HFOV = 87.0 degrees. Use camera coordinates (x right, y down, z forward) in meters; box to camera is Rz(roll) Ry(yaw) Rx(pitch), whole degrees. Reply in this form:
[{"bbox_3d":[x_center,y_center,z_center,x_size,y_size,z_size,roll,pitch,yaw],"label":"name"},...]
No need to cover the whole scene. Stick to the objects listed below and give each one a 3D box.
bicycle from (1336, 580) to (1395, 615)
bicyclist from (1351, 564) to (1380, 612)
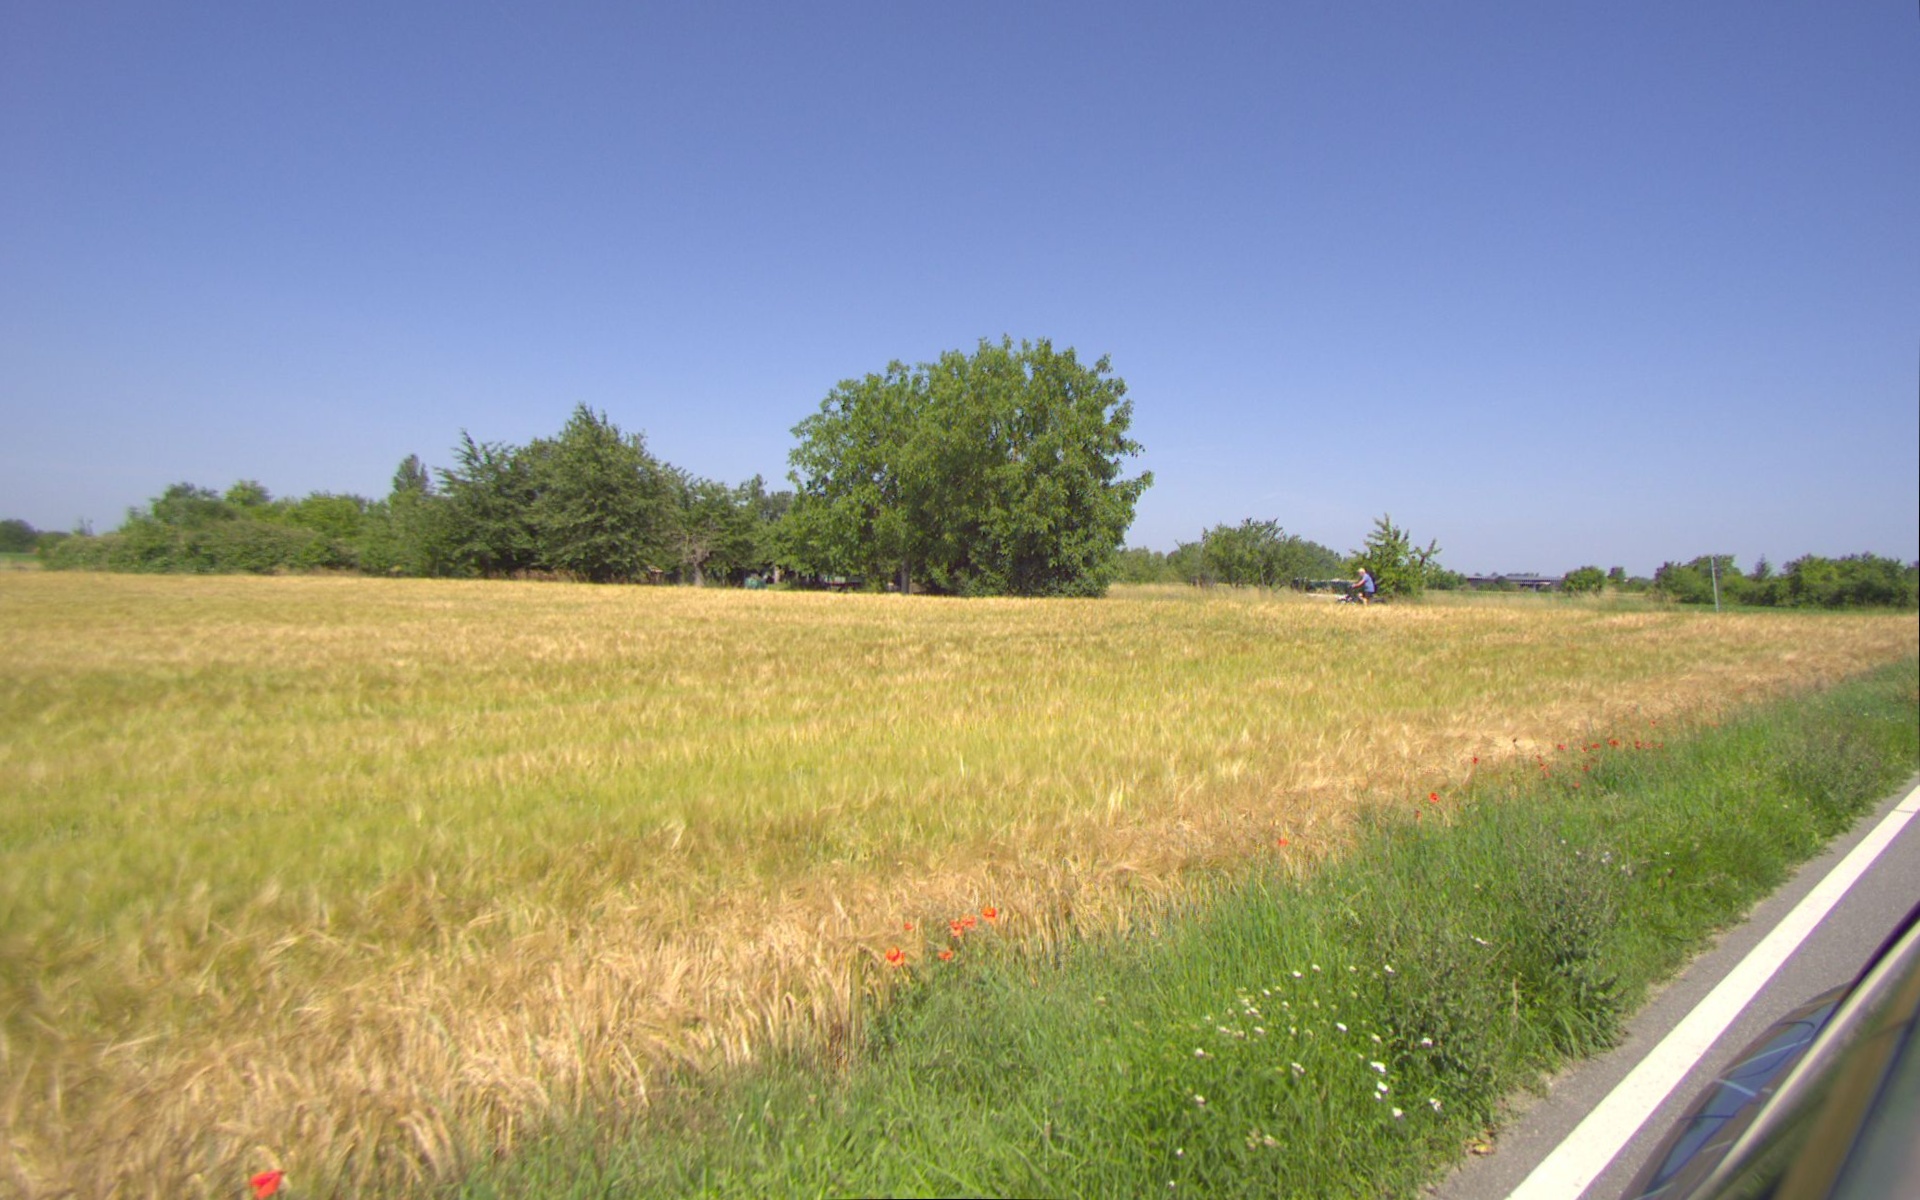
[{"bbox_3d":[13.710,-0.089,34.233,1.739,1.129,0.521,2,1,8],"label":"bicycle"},{"bbox_3d":[13.718,-0.413,34.226,0.723,1.593,0.673,1,1,7],"label":"bicyclist"}]
